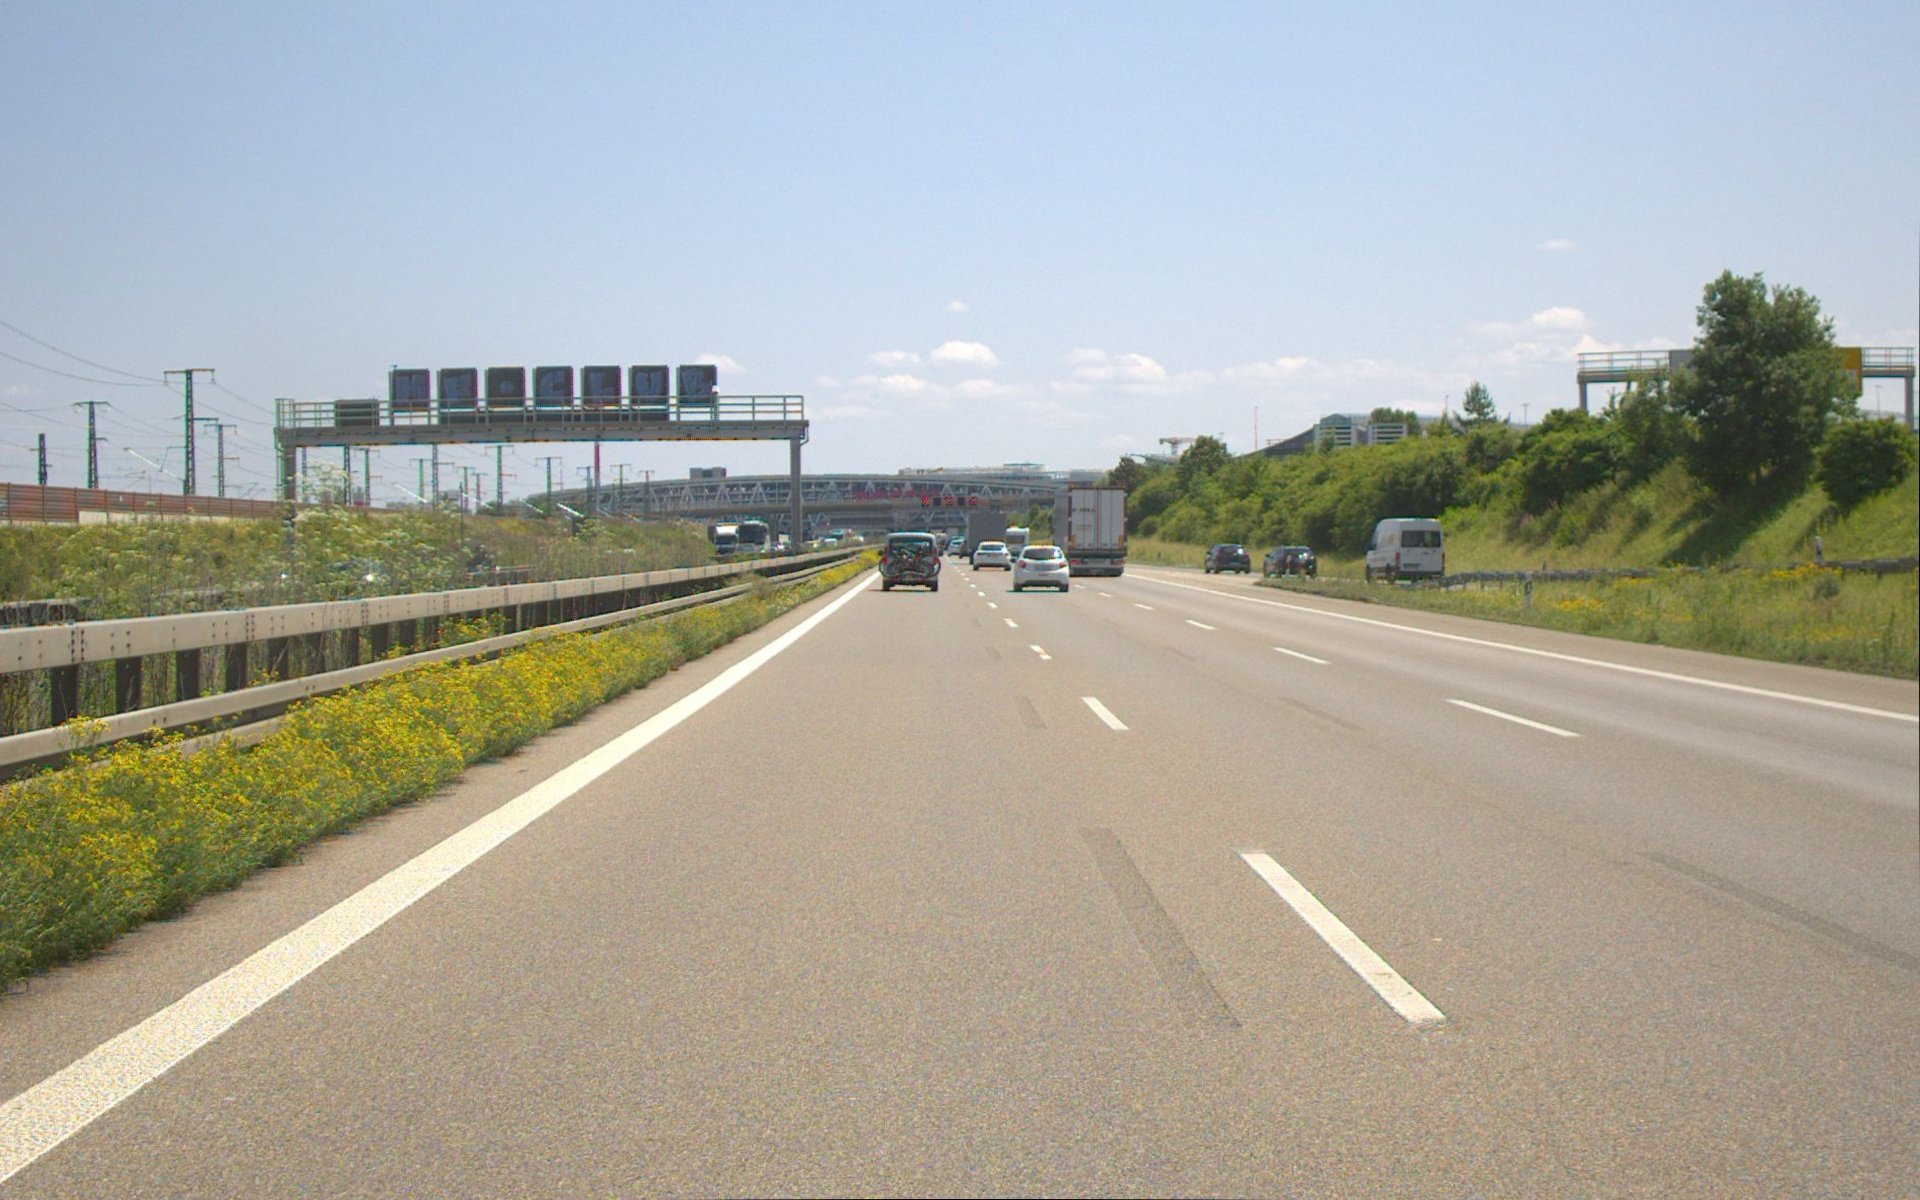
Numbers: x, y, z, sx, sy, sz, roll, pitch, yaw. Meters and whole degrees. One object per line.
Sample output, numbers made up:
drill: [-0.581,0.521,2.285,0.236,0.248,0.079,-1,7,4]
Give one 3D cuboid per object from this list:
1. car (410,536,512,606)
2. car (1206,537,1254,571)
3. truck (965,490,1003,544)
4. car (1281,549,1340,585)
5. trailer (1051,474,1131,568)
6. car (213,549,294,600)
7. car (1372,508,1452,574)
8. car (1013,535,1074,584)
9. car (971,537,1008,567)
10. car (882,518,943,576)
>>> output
car: [-10.672,-0.639,73.722,1.645,1.474,3.814,0,1,0]
car: [13.611,-2.296,173.536,1.993,1.590,4.000,2,0,-1]
truck: [1.508,-5.279,219.309,2.355,3.404,6.057,0,1,0]
car: [15.623,-1.476,153.267,1.993,1.503,4.000,2,0,-3]
trailer: [5.842,-3.544,154.750,3.177,4.045,9.440,-1,1,0]
car: [-21.864,-0.804,106.488,1.720,1.539,3.809,0,1,0]
car: [17.588,-2.315,134.021,2.274,2.519,5.400,0,1,-1]
car: [2.687,-1.277,109.958,1.881,1.521,4.000,1,0,2]
car: [1.513,-2.455,176.747,1.881,1.521,4.000,1,0,1]
car: [-1.488,-1.644,108.295,1.881,1.769,4.000,0,0,0]
